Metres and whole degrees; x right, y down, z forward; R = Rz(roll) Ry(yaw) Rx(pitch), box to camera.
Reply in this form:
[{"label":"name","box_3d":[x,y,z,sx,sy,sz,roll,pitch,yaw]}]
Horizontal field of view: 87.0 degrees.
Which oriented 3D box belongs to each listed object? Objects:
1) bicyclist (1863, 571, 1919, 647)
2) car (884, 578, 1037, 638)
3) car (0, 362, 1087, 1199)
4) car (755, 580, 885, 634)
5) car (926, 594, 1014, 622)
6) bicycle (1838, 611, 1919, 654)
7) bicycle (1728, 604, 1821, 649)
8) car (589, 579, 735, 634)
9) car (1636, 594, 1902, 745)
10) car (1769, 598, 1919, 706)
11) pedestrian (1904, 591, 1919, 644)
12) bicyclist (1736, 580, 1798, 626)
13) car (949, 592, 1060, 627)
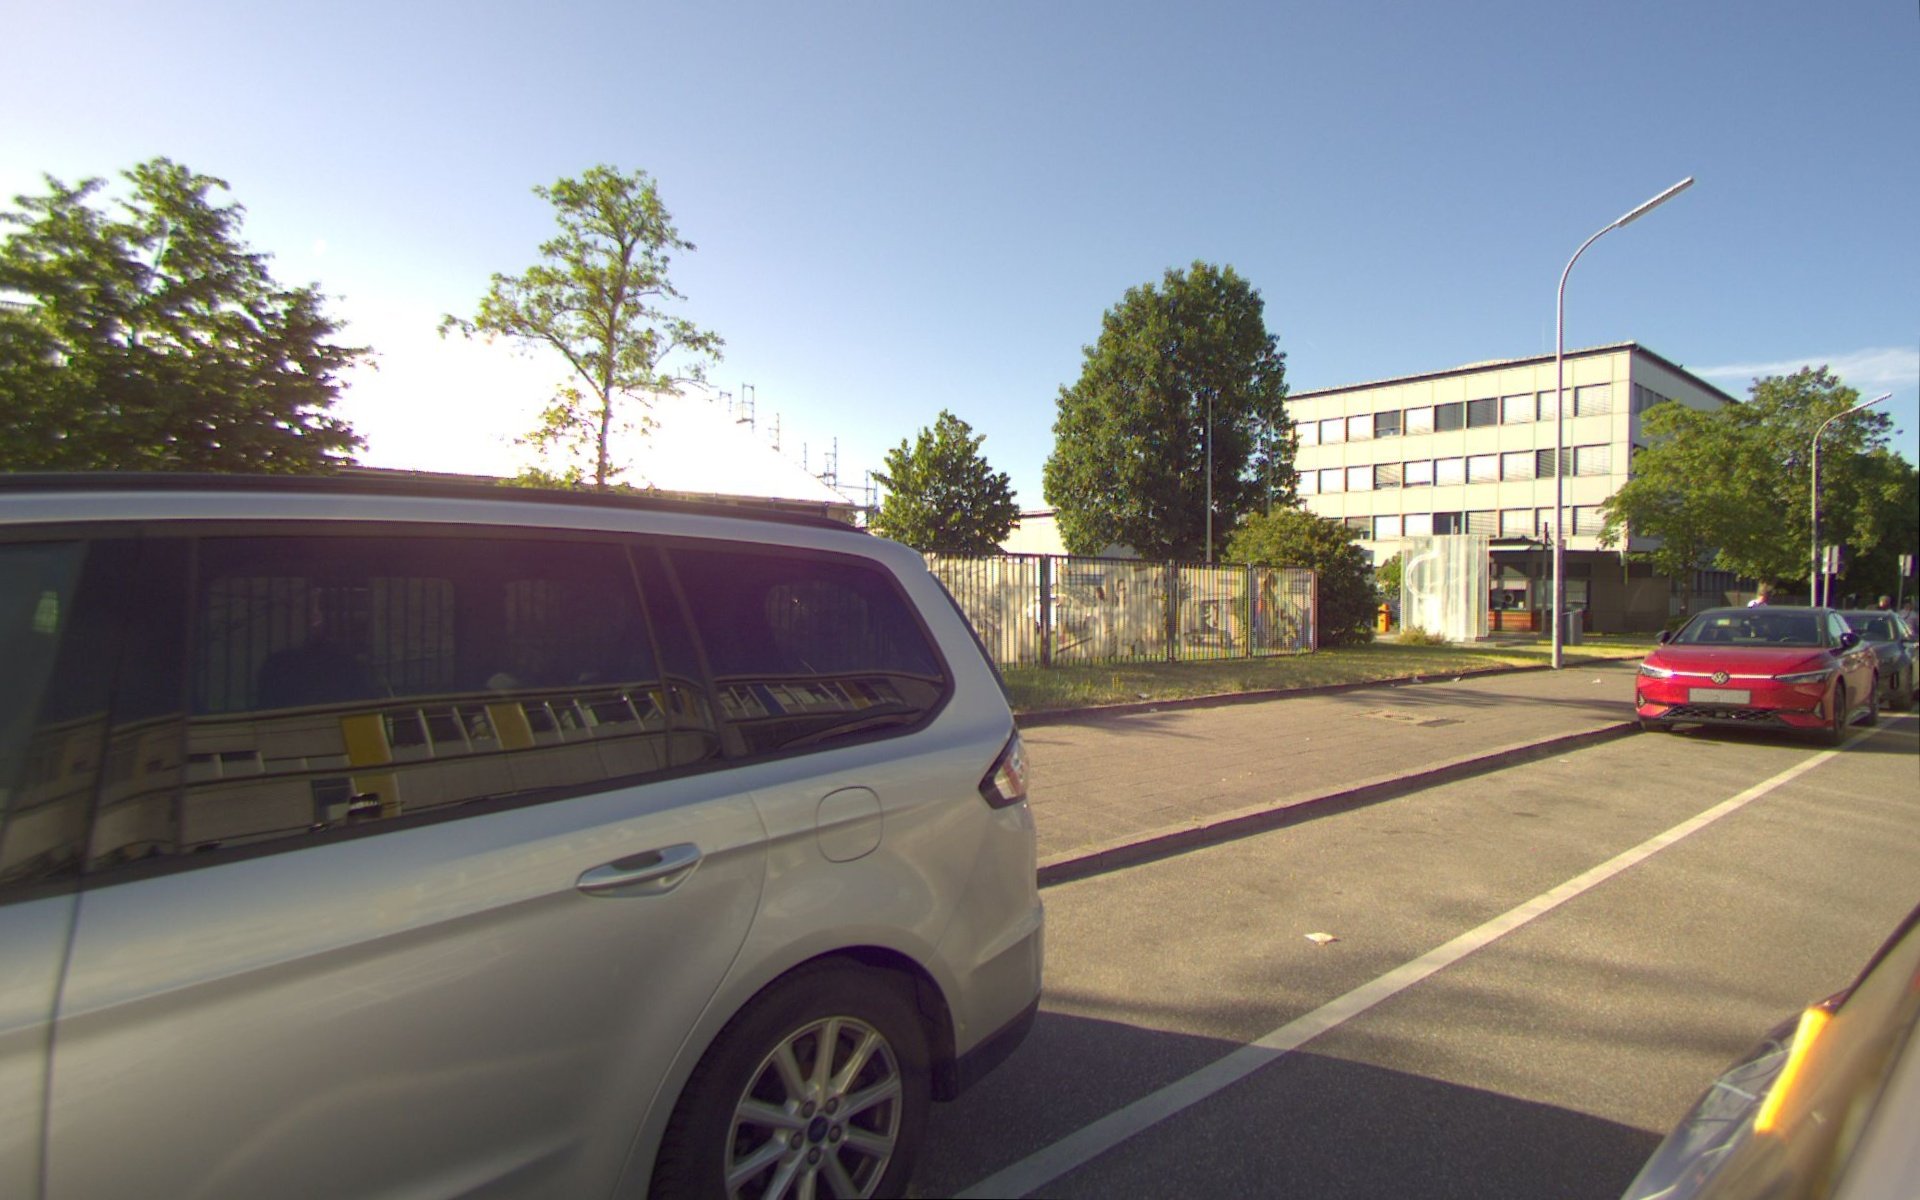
[{"label":"bicyclist","box_3d":[26.007,0.231,28.246,0.943,2.038,1.051,2,1,-44]},{"label":"car","box_3d":[-0.043,0.196,30.873,4.630,1.689,1.968,1,1,45]},{"label":"car","box_3d":[-1.979,0.574,1.838,4.623,1.744,1.811,0,-1,-42]},{"label":"car","box_3d":[-3.975,0.159,28.353,1.647,1.397,3.893,1,1,-43]},{"label":"car","box_3d":[0.431,0.389,48.009,1.847,1.268,4.146,0,-1,-43]},{"label":"bicycle","box_3d":[25.890,0.919,28.320,0.689,1.021,1.882,5,1,-43]},{"label":"bicycle","box_3d":[22.963,0.737,28.566,0.654,1.157,1.906,2,1,-25]},{"label":"car","box_3d":[-7.459,0.182,25.125,1.847,1.268,4.146,0,-1,-43]},{"label":"car","box_3d":[10.072,0.720,12.467,4.640,1.530,1.811,0,-1,-42]},{"label":"car","box_3d":[14.428,0.739,16.148,4.142,1.506,1.703,0,-1,-42]},{"label":"pedestrian","box_3d":[32.248,0.578,33.963,0.762,1.750,0.692,1,1,-41]},{"label":"bicyclist","box_3d":[22.934,0.080,28.773,0.844,1.284,1.102,1,0,-25]},{"label":"car","box_3d":[1.630,0.364,38.473,1.847,1.268,4.146,0,-1,-43]}]
